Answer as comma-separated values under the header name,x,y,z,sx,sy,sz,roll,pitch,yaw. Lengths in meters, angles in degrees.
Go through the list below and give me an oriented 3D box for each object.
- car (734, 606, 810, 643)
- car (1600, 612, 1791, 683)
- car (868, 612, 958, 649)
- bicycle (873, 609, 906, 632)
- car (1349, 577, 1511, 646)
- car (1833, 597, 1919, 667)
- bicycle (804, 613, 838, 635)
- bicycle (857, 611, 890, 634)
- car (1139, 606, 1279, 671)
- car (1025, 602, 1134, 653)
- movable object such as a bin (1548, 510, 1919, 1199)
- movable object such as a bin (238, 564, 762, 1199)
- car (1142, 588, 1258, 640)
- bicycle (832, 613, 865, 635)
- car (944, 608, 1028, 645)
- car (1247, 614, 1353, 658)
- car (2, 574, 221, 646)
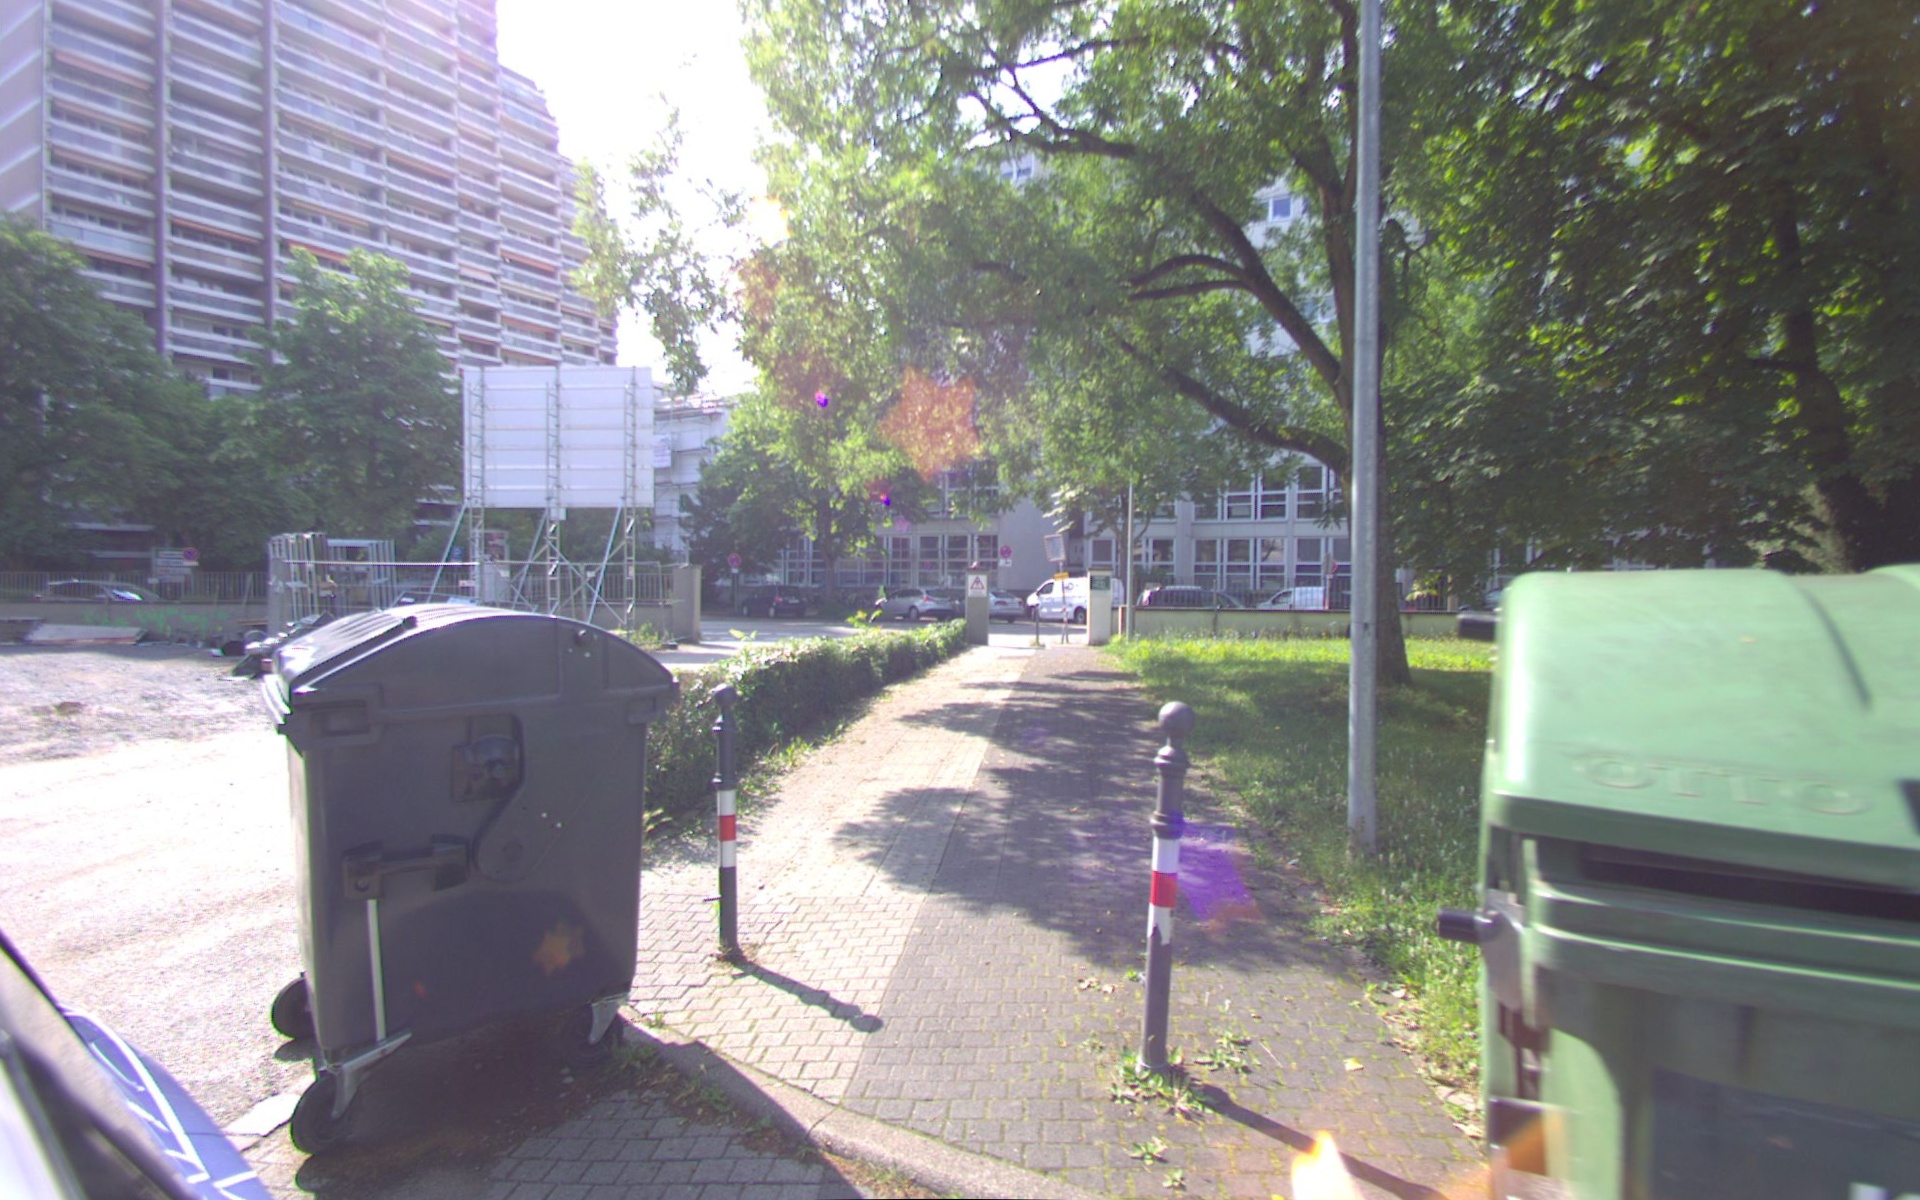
name,x,y,z,sx,sy,sz,roll,pitch,yaw
car,-8.562,1.118,45.782,1.731,1.473,4.008,-2,-2,-37
car,18.669,1.229,25.820,3.539,1.624,1.676,2,-4,5
car,-2.152,1.399,45.480,1.755,1.475,4.241,6,-7,-41
bicycle,-3.629,1.040,52.141,0.496,1.095,2.032,-4,-2,34
car,12.452,0.335,26.977,3.539,1.624,1.676,2,-4,5
car,24.502,0.860,25.402,3.539,1.624,1.676,2,-4,5
bicycle,-7.454,1.295,54.366,0.496,1.095,2.032,-4,-2,34
bicycle,-4.470,1.143,52.266,0.496,1.095,2.032,-4,-2,34
car,6.929,1.094,28.440,3.539,1.624,1.676,2,-4,5
car,5.077,1.193,43.575,1.901,1.926,4.653,7,-5,-36
movable object such as a bin,1.331,0.645,0.861,1.337,1.462,1.092,-4,-2,30
movable object such as a bin,-1.470,0.677,3.157,1.229,1.493,1.299,0,-1,-37
car,9.932,0.595,42.223,1.872,2.013,4.584,-2,0,-36
bicycle,-5.846,1.257,53.322,0.496,1.095,2.032,-4,-2,34
car,1.108,1.215,44.921,1.698,1.487,3.791,5,-5,-37
car,14.447,1.551,43.124,1.854,1.725,3.764,-2,-2,-40
car,-25.715,0.322,30.753,5.244,2.029,1.996,1,-3,7
